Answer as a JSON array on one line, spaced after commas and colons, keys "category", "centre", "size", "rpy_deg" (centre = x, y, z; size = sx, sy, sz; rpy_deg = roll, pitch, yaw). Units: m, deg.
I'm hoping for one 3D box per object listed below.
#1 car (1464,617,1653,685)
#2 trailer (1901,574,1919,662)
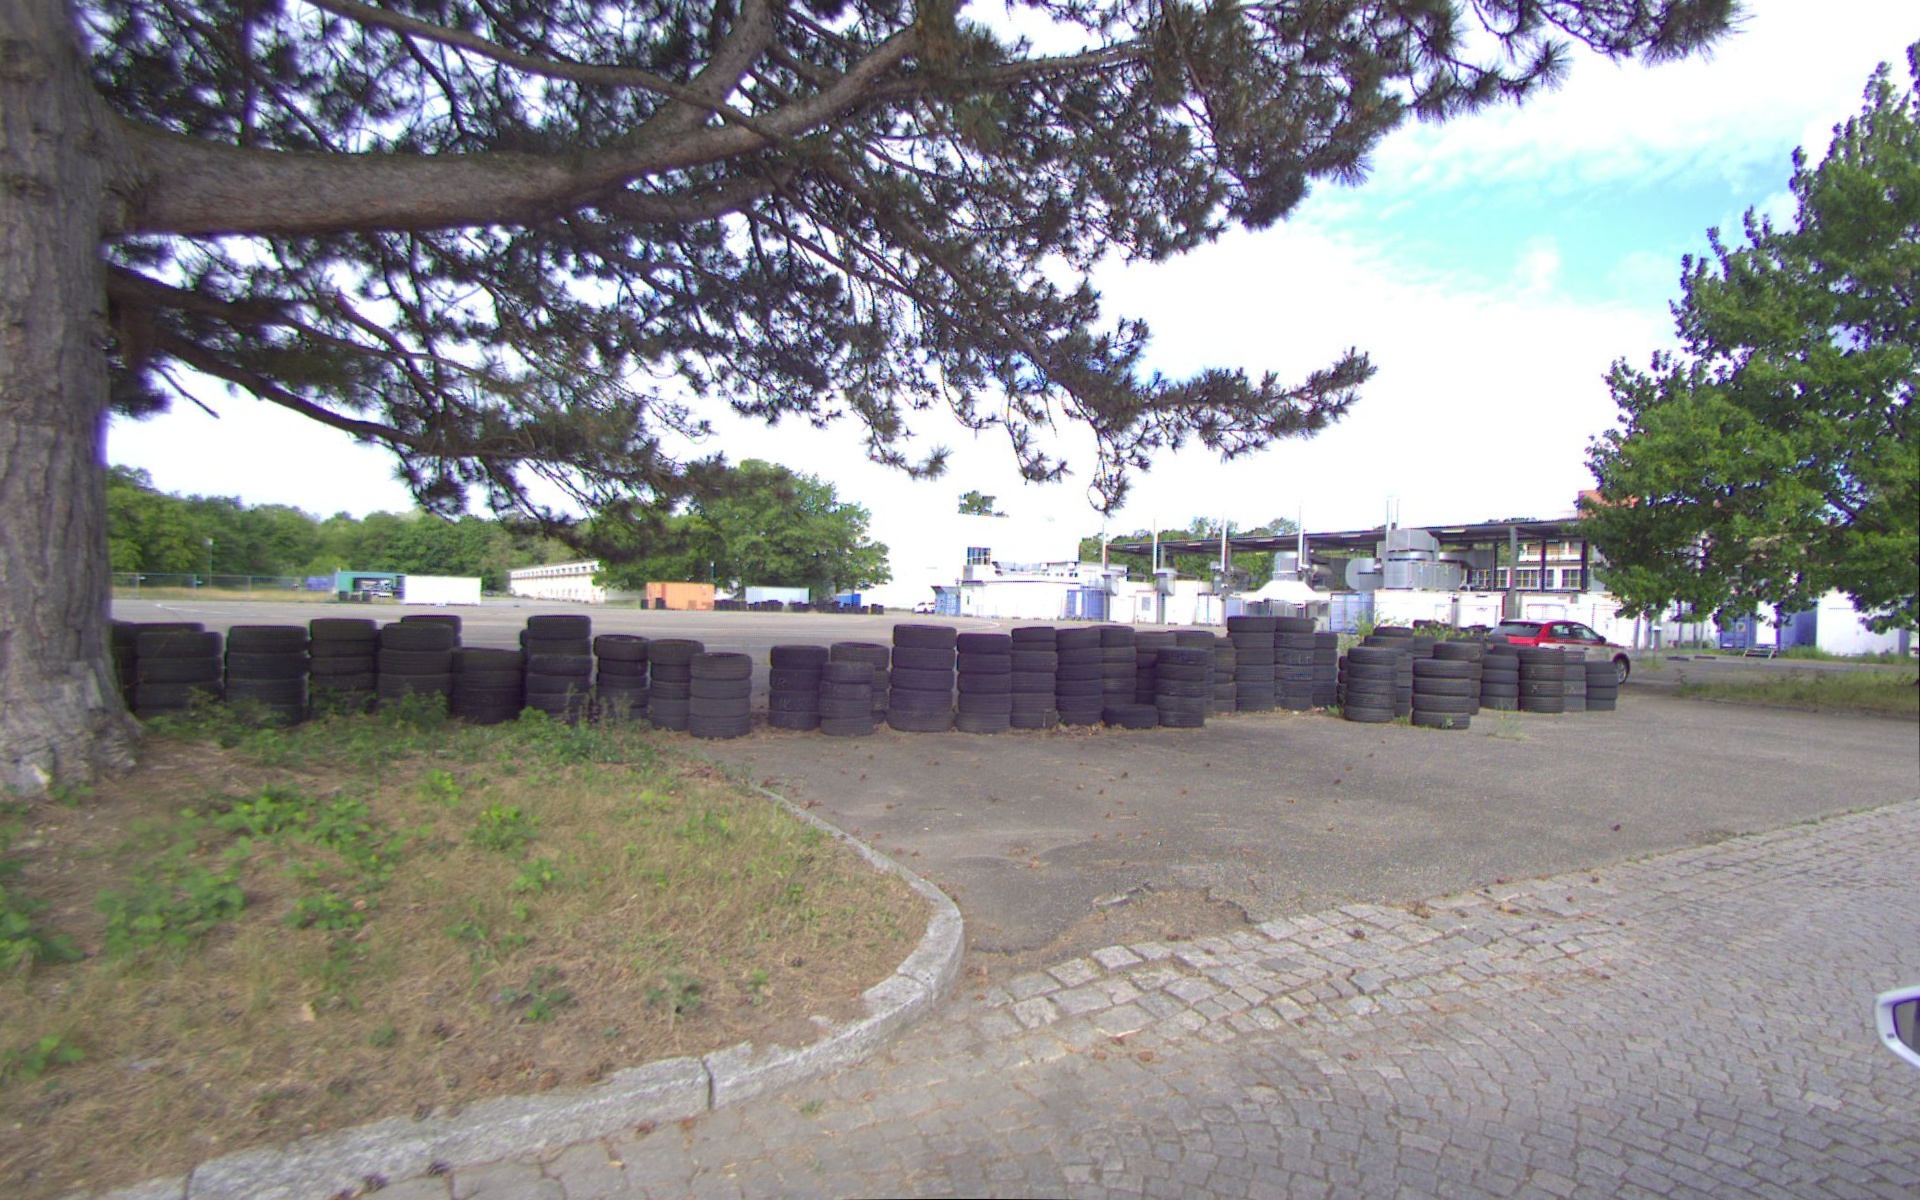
[{"category": "car", "centre": [14.160, 1.188, 23.750], "size": [4.161, 1.451, 1.818], "rpy_deg": [2, 0, -25]}, {"category": "trailer", "centre": [45.843, 0.901, 44.689], "size": [10.589, 3.755, 2.645], "rpy_deg": [2, 0, -29]}]
